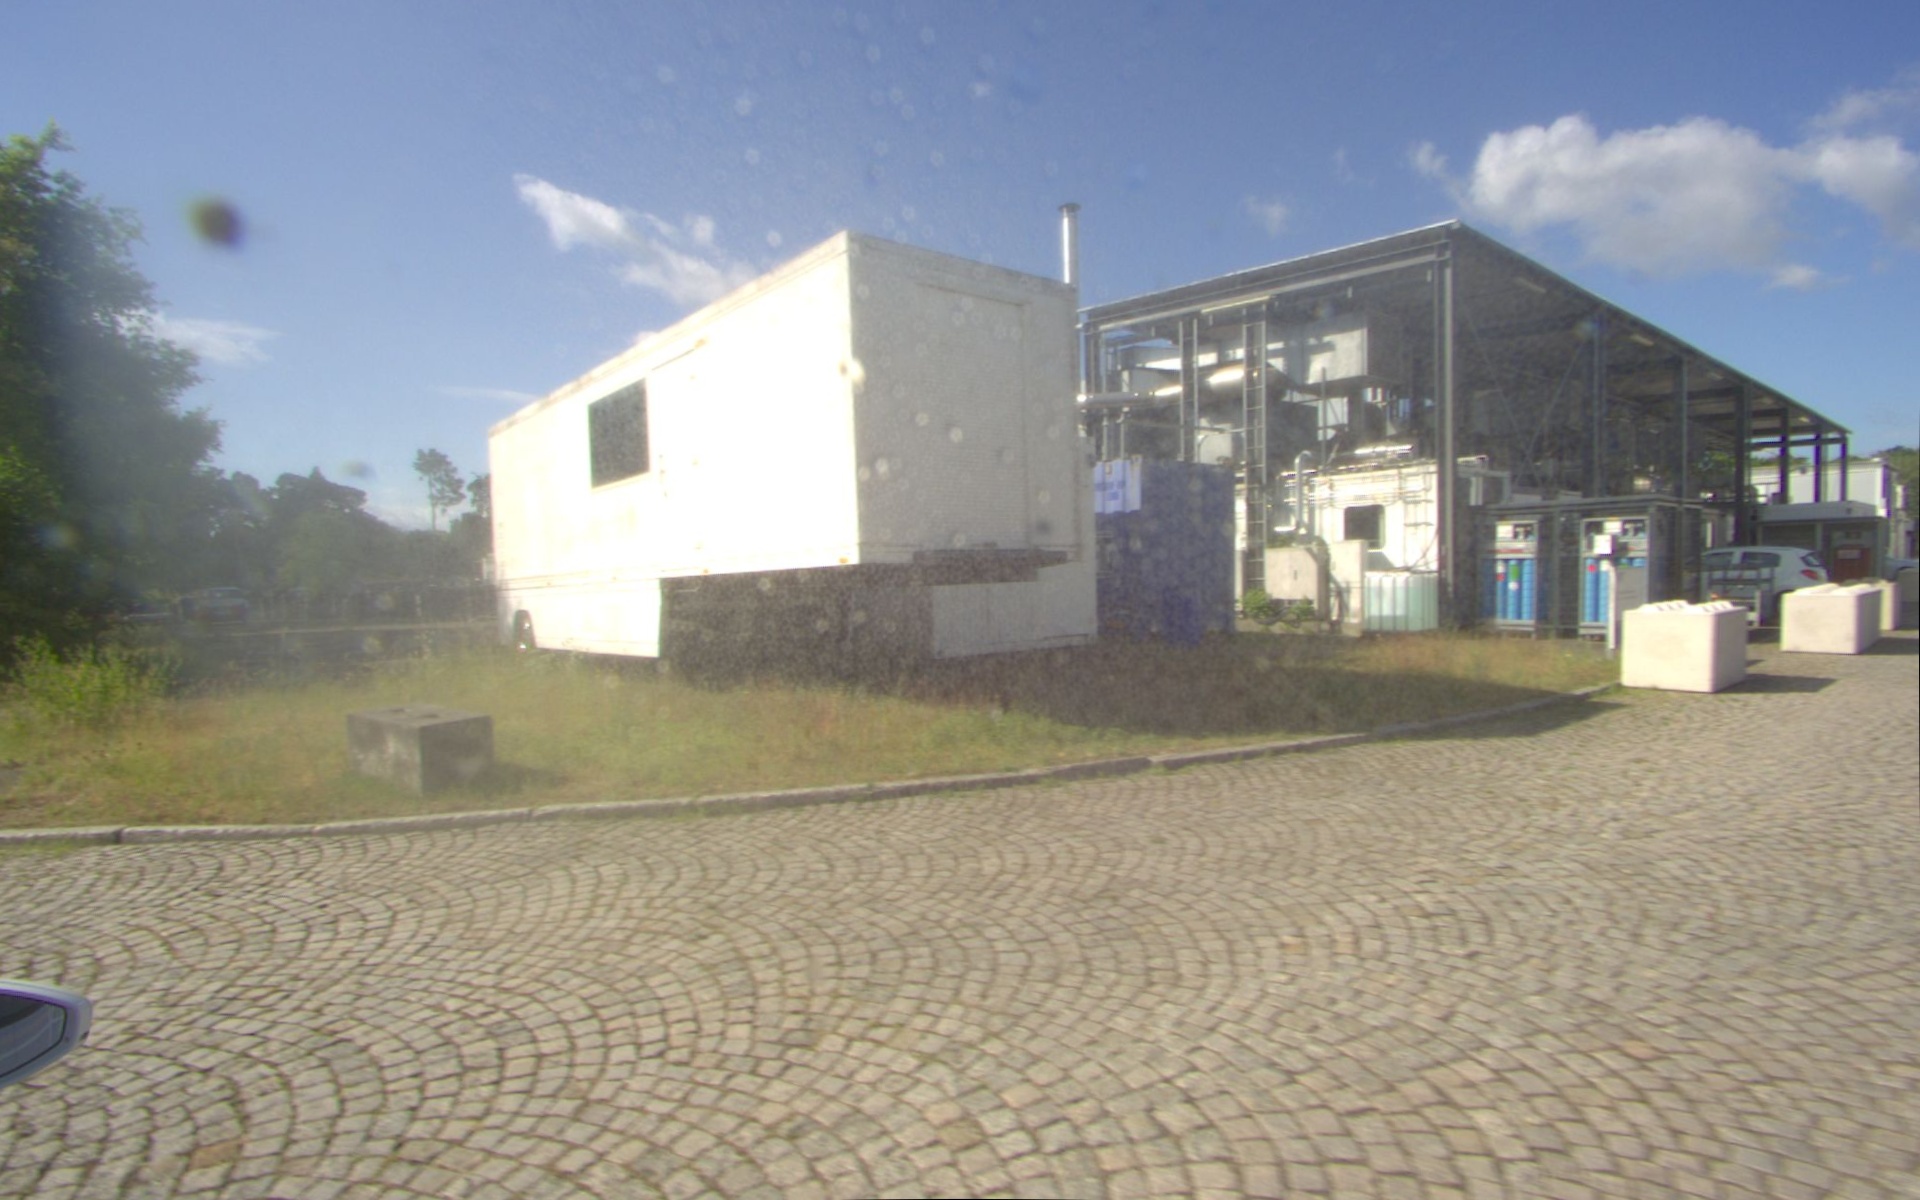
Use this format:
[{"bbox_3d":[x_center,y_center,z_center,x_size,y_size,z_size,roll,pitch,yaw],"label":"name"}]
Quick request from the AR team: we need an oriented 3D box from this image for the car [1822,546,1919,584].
[{"bbox_3d":[36.997,-1.391,40.061,1.658,1.428,3.660,-3,2,-44],"label":"car"}]

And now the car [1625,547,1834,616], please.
[{"bbox_3d":[16.707,-0.404,21.844,1.595,1.395,3.438,-3,2,-44],"label":"car"}]

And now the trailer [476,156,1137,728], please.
[{"bbox_3d":[-2.918,-1.170,12.072,2.748,3.965,10.795,-3,2,-39],"label":"trailer"}]

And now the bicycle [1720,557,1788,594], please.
[{"bbox_3d":[25.441,-0.764,32.109,0.480,1.152,1.655,-3,3,-42],"label":"bicycle"}]

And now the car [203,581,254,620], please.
[{"bbox_3d":[-28.940,-0.006,39.688,1.526,1.426,3.552,-3,2,-35],"label":"car"}]
